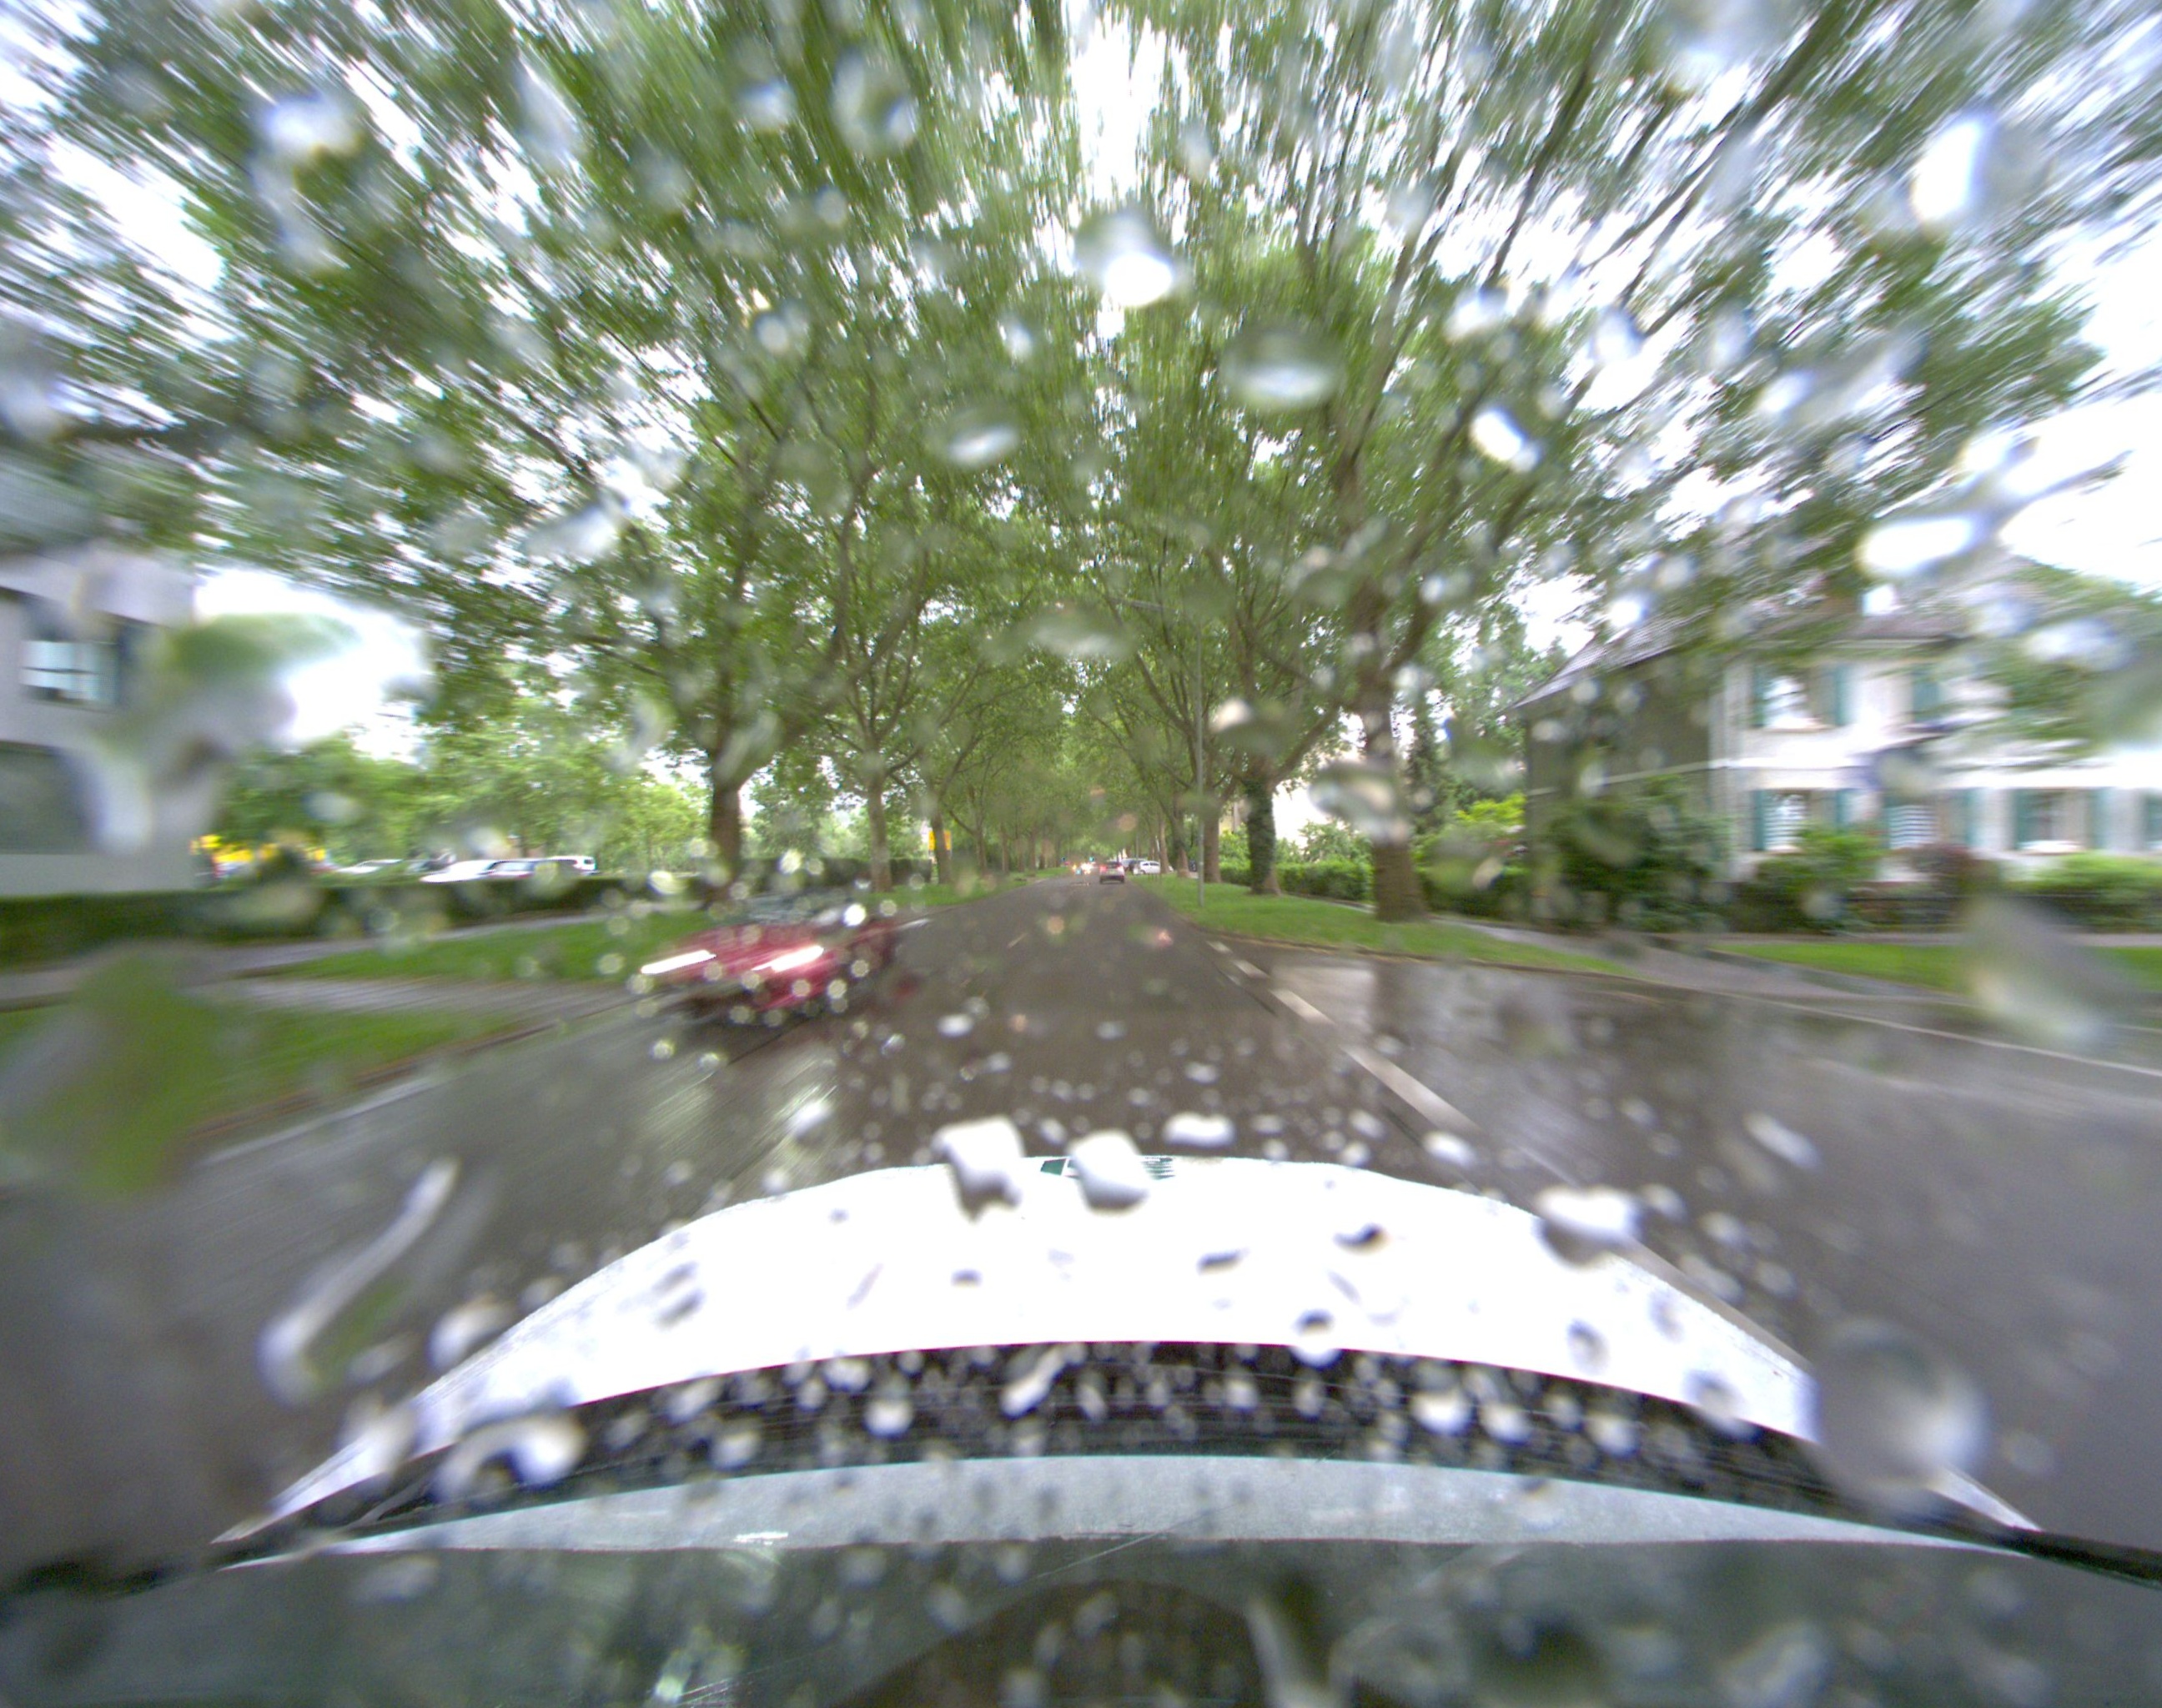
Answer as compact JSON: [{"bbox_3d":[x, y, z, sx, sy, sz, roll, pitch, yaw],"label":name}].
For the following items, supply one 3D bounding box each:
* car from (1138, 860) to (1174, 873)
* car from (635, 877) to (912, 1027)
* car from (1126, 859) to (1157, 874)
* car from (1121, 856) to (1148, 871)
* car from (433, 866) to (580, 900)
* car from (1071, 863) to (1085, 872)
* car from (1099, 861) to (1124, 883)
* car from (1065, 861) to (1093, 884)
[{"bbox_3d":[7.746,1.288,83.964,3.537,1.155,1.711,-2,0,-1],"label":"car"},{"bbox_3d":[-3.259,0.972,9.452,1.699,1.251,3.646,-2,0,2],"label":"car"},{"bbox_3d":[7.288,1.450,97.649,3.536,1.645,1.711,-2,0,0],"label":"car"},{"bbox_3d":[7.302,1.317,111.773,3.536,1.841,1.711,-2,0,0],"label":"car"},{"bbox_3d":[-21.176,1.040,30.129,3.972,1.134,2.001,1,0,1],"label":"car"},{"bbox_3d":[-0.406,1.877,114.123,1.713,1.255,4.002,1,0,2],"label":"car"},{"bbox_3d":[2.155,1.240,58.082,1.699,1.411,3.646,-2,0,2],"label":"car"},{"bbox_3d":[-0.116,1.198,54.606,1.699,1.411,3.646,-2,0,2],"label":"car"}]
